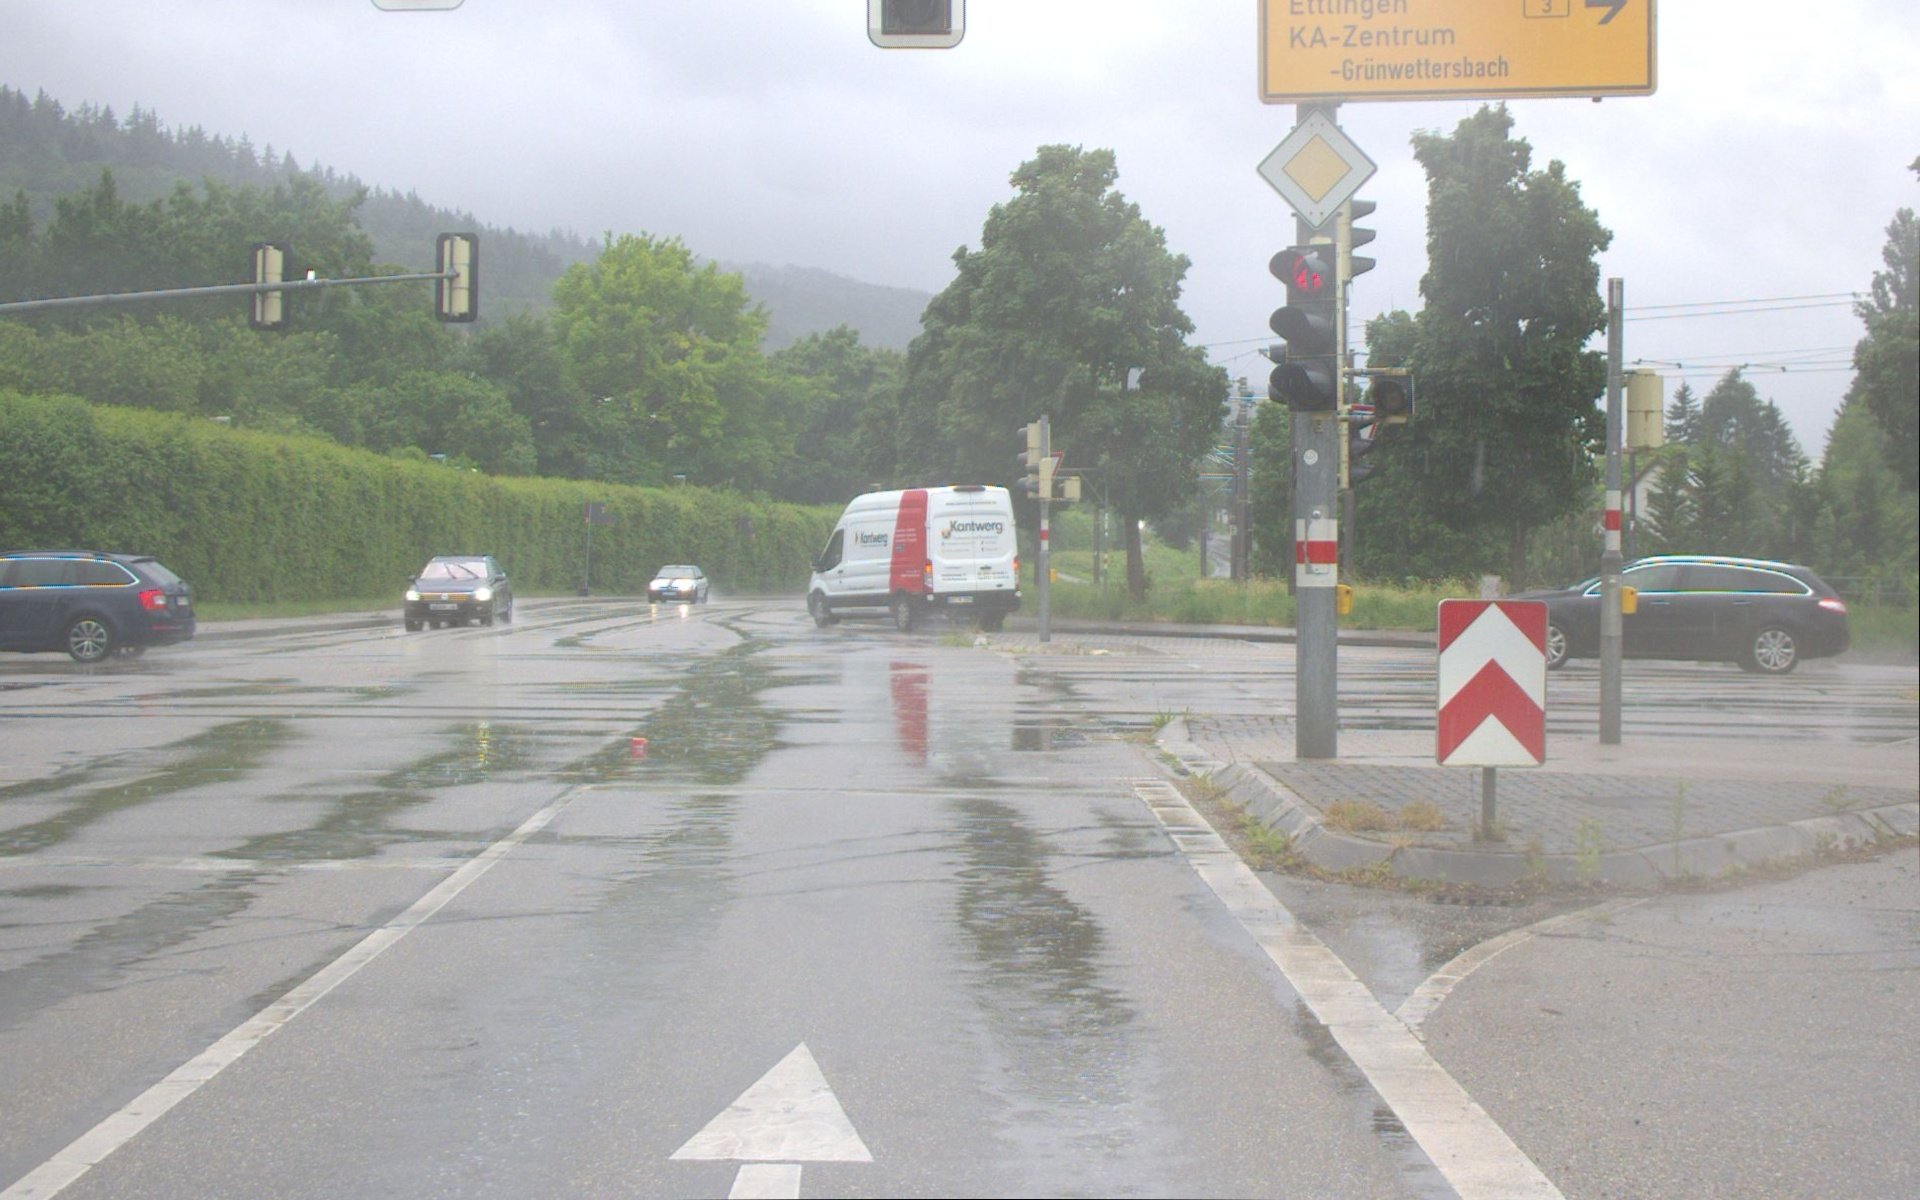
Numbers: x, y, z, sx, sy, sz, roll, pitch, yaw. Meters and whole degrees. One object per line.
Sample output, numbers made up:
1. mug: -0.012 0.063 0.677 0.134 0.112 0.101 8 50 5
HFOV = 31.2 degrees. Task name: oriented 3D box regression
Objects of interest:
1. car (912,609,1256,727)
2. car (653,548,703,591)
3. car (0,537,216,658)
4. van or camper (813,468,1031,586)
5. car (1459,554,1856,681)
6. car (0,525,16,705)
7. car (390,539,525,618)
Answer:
1. car: 1.721 0.926 47.525 4.670 1.548 1.822 0 1 3
2. car: -10.040 -1.102 122.473 1.558 1.476 3.361 1 1 -1
3. car: -12.271 -0.046 44.963 4.669 1.548 1.823 0 1 1
4. van or camper: -0.770 -1.395 65.328 2.153 2.161 4.865 0 1 -28
5. car: 8.747 0.198 43.396 4.670 1.548 1.822 0 1 3
6. car: -10.643 0.119 29.881 4.376 1.574 1.732 1 1 5
7. car: -10.583 -0.488 72.742 1.879 1.568 4.644 -2 1 3
